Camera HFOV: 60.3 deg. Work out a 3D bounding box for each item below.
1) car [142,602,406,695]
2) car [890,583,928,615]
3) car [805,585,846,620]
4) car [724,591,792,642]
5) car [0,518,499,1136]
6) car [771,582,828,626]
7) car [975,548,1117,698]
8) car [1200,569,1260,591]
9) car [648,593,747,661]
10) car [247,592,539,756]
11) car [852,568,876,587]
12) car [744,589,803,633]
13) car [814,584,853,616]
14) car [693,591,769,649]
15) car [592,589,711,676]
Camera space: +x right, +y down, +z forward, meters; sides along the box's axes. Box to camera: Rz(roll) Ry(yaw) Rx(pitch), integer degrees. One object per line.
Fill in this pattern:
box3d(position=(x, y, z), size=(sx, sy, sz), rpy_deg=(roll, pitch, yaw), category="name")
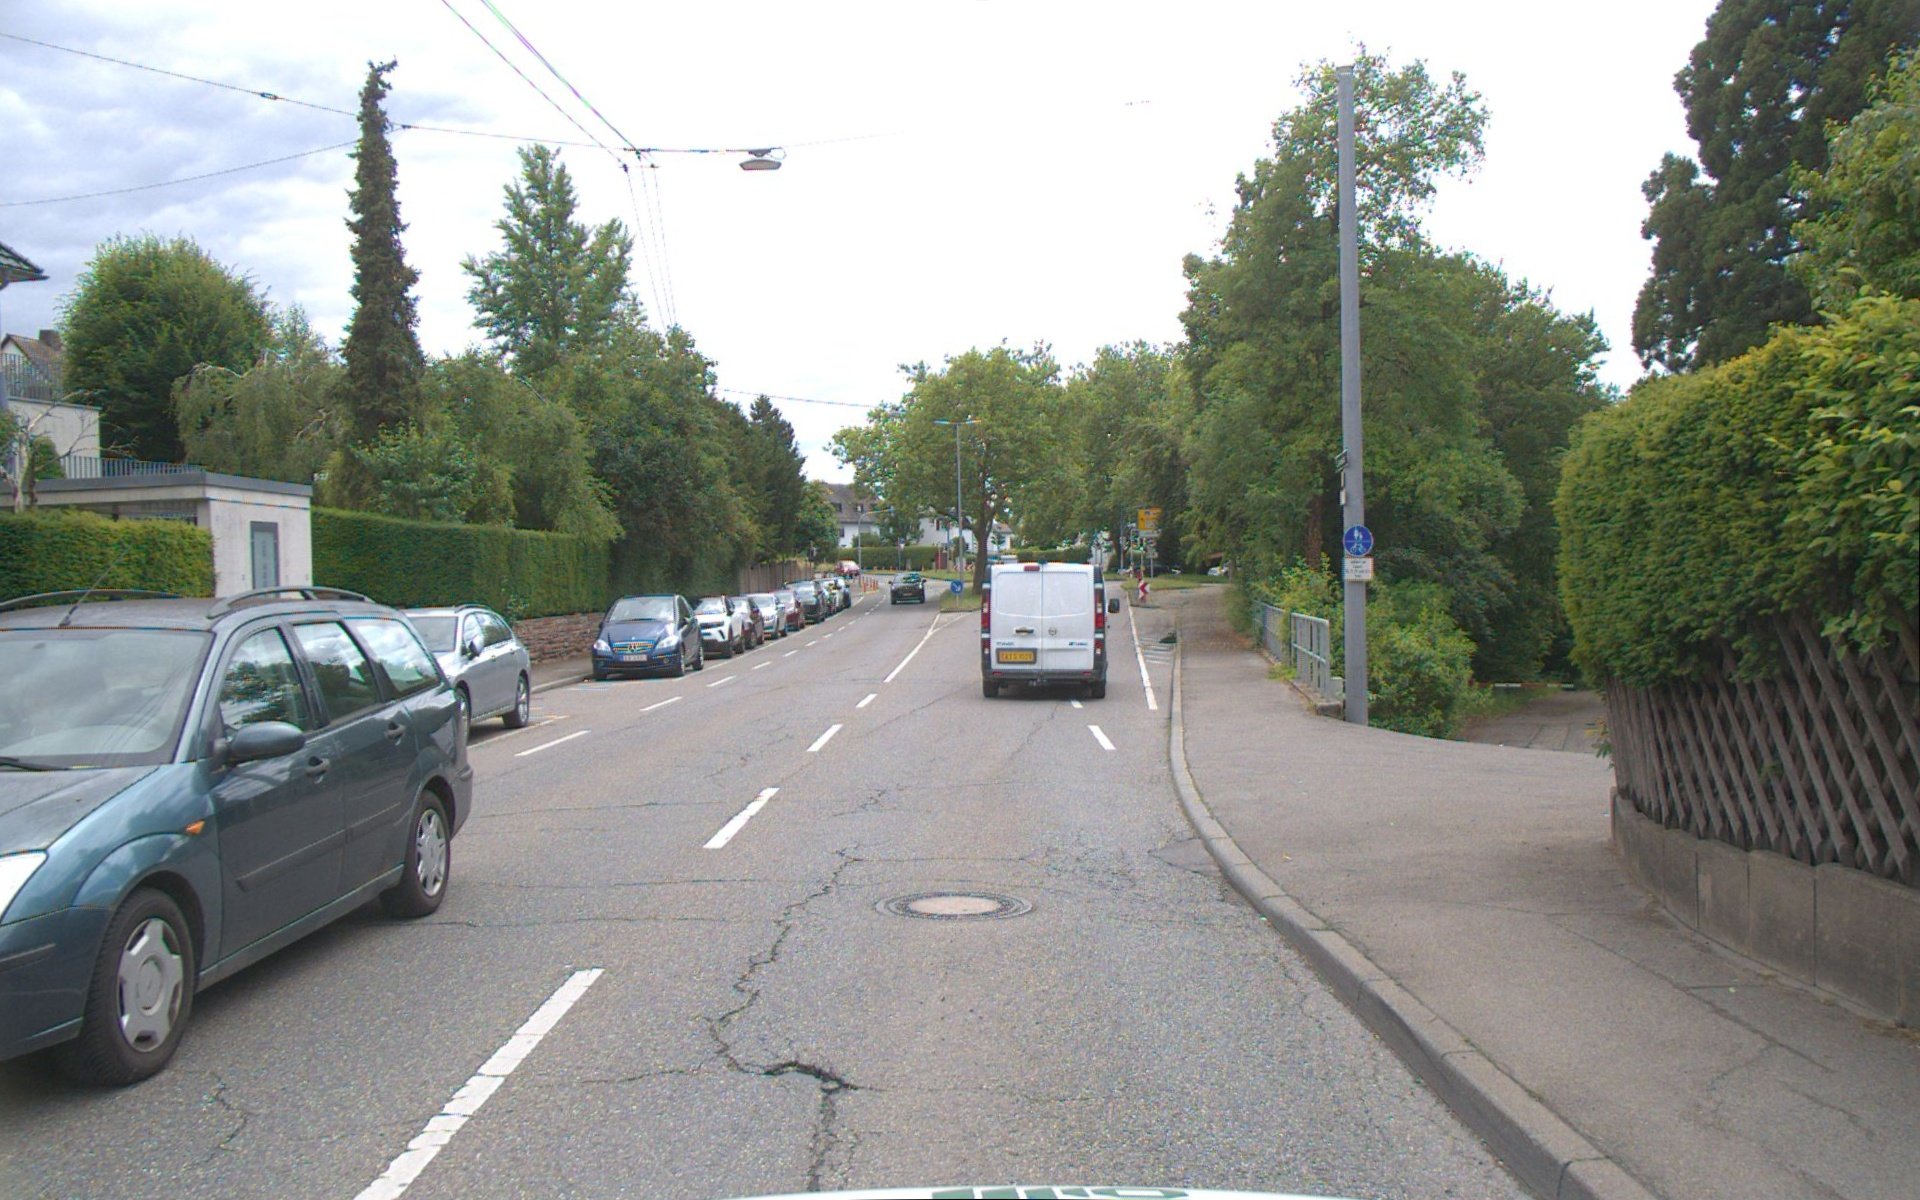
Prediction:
box3d(position=(-11.166, 0.773, 27.036), size=(3.511, 1.415, 1.851), rpy_deg=(-1, 0, 8), category="car")
box3d(position=(-2.789, -0.064, 91.184), size=(1.804, 1.676, 4.214), rpy_deg=(-1, 0, 2), category="car")
box3d(position=(-6.744, 0.094, 83.276), size=(1.638, 1.620, 4.096), rpy_deg=(-2, 1, 0), category="car")
box3d(position=(-6.429, 0.489, 53.068), size=(1.635, 1.514, 4.431), rpy_deg=(-2, 0, 0), category="car")
box3d(position=(-3.280, 0.581, 6.448), size=(1.698, 1.580, 4.447), rpy_deg=(-1, 0, 0), category="car")
box3d(position=(-6.460, 0.140, 66.853), size=(1.953, 1.671, 4.465), rpy_deg=(-2, 0, -2), category="car")
box3d(position=(1.369, 0.311, 25.917), size=(1.964, 2.073, 5.012), rpy_deg=(1, 0, 3), category="car")
box3d(position=(22.120, -1.653, 135.506), size=(4.679, 1.800, 1.980), rpy_deg=(-1, 1, -30), category="car")
box3d(position=(-6.480, 0.627, 41.160), size=(1.851, 1.520, 4.026), rpy_deg=(-2, 1, -2), category="car")
box3d(position=(-6.110, 0.712, 18.398), size=(1.773, 1.480, 4.412), rpy_deg=(-3, 0, -2), category="car")
box3d(position=(-8.743, -2.048, 150.513), size=(1.957, 1.615, 3.997), rpy_deg=(-2, 0, 0), category="car")
box3d(position=(-6.698, 0.364, 59.866), size=(1.743, 1.463, 3.999), rpy_deg=(-2, 1, -2), category="car")
box3d(position=(-6.749, -0.031, 88.620), size=(1.850, 1.653, 4.429), rpy_deg=(-1, 0, -2), category="car")
box3d(position=(-6.423, 0.529, 46.744), size=(1.636, 1.504, 3.910), rpy_deg=(-2, 1, -2), category="car")
box3d(position=(-6.158, 0.628, 33.398), size=(1.644, 1.583, 3.971), rpy_deg=(-2, 0, -1), category="car")
